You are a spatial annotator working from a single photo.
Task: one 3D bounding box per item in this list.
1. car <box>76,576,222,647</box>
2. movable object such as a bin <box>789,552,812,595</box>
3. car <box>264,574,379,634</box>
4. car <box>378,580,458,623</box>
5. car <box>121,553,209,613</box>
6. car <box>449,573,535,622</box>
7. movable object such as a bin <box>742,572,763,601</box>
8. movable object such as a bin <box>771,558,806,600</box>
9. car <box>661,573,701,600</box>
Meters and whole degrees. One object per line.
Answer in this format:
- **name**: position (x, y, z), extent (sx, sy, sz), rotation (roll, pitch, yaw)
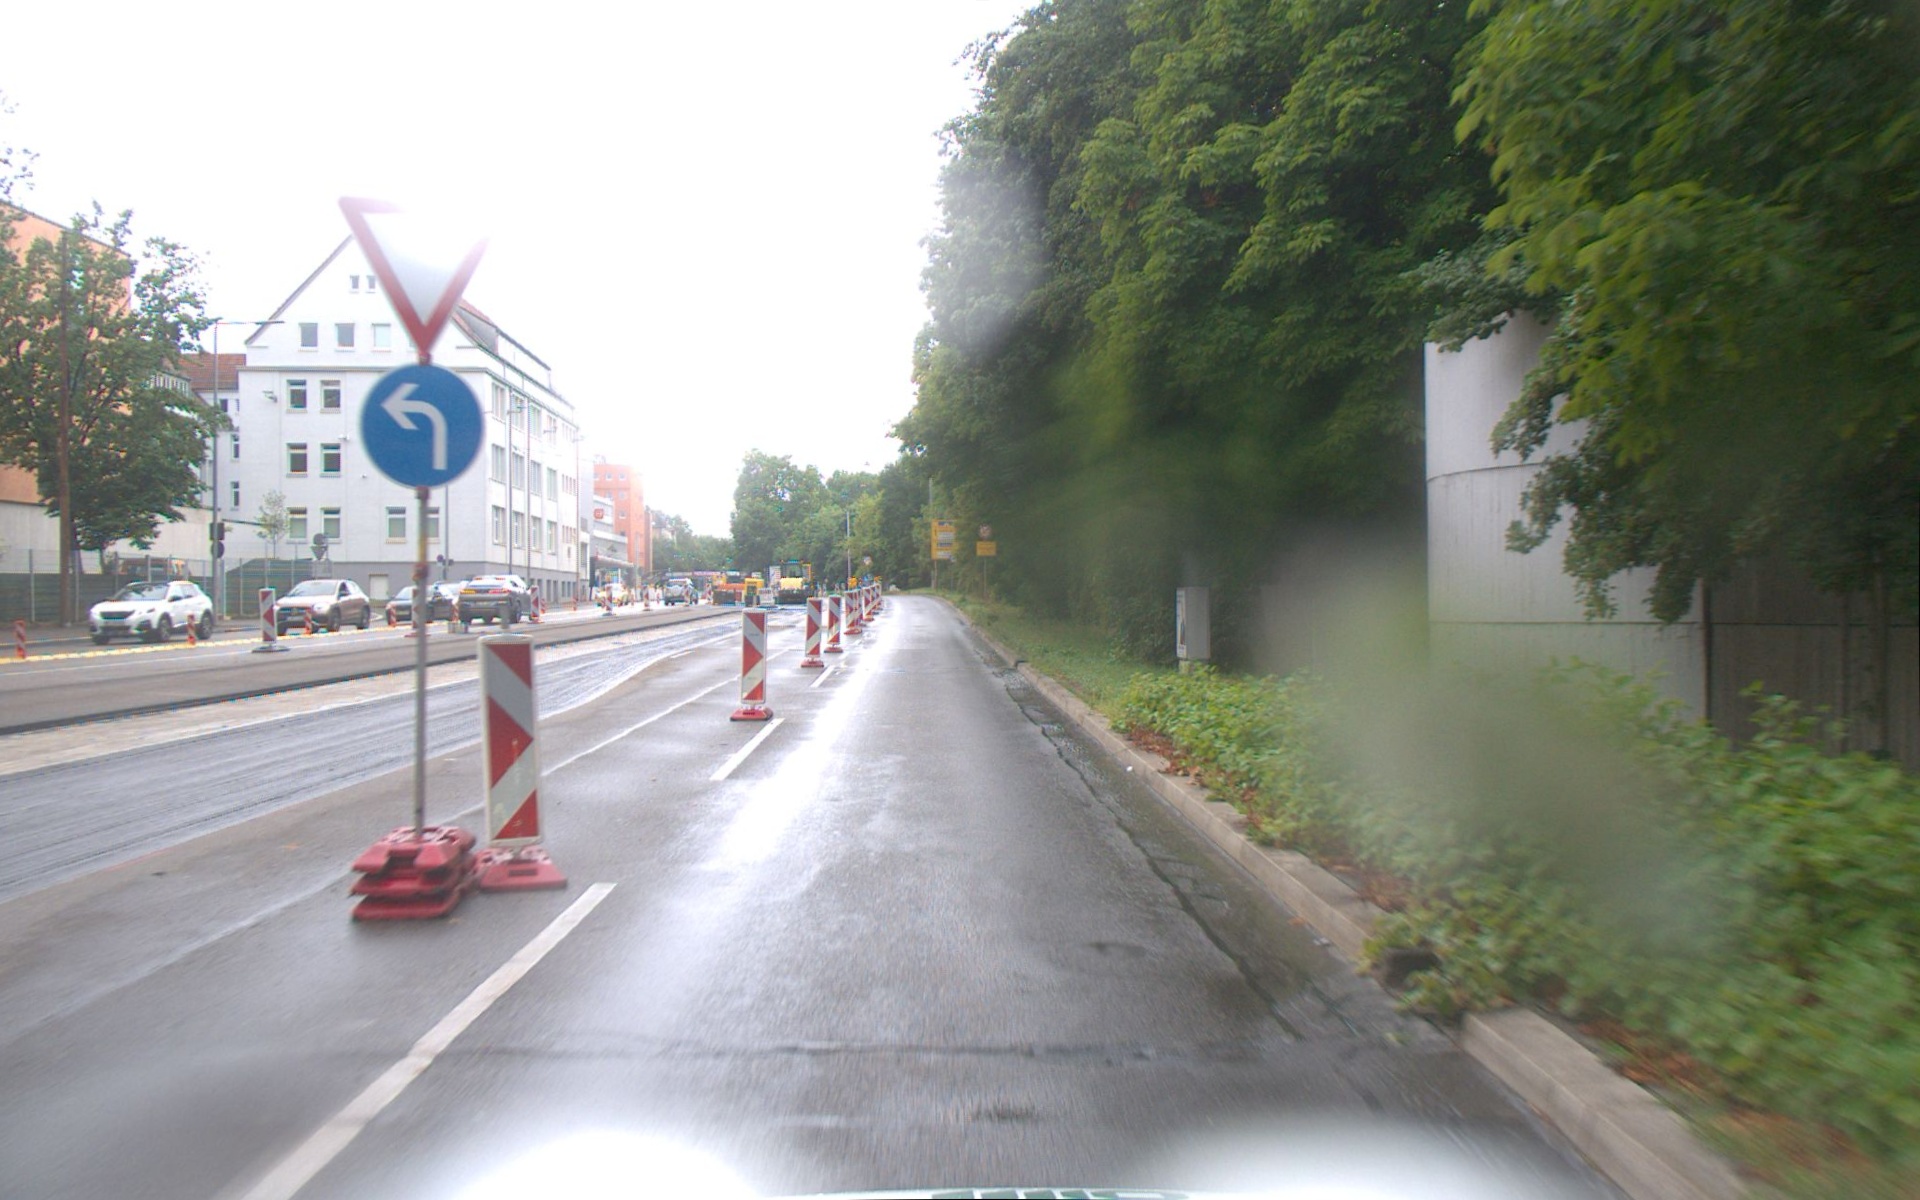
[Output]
- **car**: position (-21.916, 0.279, 44.914), extent (1.821, 1.735, 4.364), rotation (-2, 0, -1)
- **movable object such as a bin**: position (-11.803, -1.964, 122.698), extent (1.437, 3.060, 3.722), rotation (-2, 1, -3)
- **car**: position (-19.335, 0.096, 50.269), extent (1.821, 1.647, 4.364), rotation (-2, 0, -1)
- **car**: position (-20.386, 0.044, 62.364), extent (1.821, 1.501, 3.731), rotation (-2, 0, -1)
- **car**: position (-30.223, -0.638, 62.991), extent (1.578, 2.208, 3.998), rotation (0, 1, -2)
- **car**: position (-16.406, -0.102, 58.177), extent (1.854, 1.679, 4.395), rotation (0, 0, -1)
- **movable object such as a bin**: position (-12.429, -0.805, 99.256), extent (1.061, 1.673, 2.438), rotation (0, 1, -3)
- **movable object such as a bin**: position (-11.134, -1.397, 107.741), extent (1.864, 2.654, 5.381), rotation (-1, 1, -2)
- **car**: position (-17.618, -0.868, 104.741), extent (1.854, 1.679, 4.395), rotation (0, 0, -1)
